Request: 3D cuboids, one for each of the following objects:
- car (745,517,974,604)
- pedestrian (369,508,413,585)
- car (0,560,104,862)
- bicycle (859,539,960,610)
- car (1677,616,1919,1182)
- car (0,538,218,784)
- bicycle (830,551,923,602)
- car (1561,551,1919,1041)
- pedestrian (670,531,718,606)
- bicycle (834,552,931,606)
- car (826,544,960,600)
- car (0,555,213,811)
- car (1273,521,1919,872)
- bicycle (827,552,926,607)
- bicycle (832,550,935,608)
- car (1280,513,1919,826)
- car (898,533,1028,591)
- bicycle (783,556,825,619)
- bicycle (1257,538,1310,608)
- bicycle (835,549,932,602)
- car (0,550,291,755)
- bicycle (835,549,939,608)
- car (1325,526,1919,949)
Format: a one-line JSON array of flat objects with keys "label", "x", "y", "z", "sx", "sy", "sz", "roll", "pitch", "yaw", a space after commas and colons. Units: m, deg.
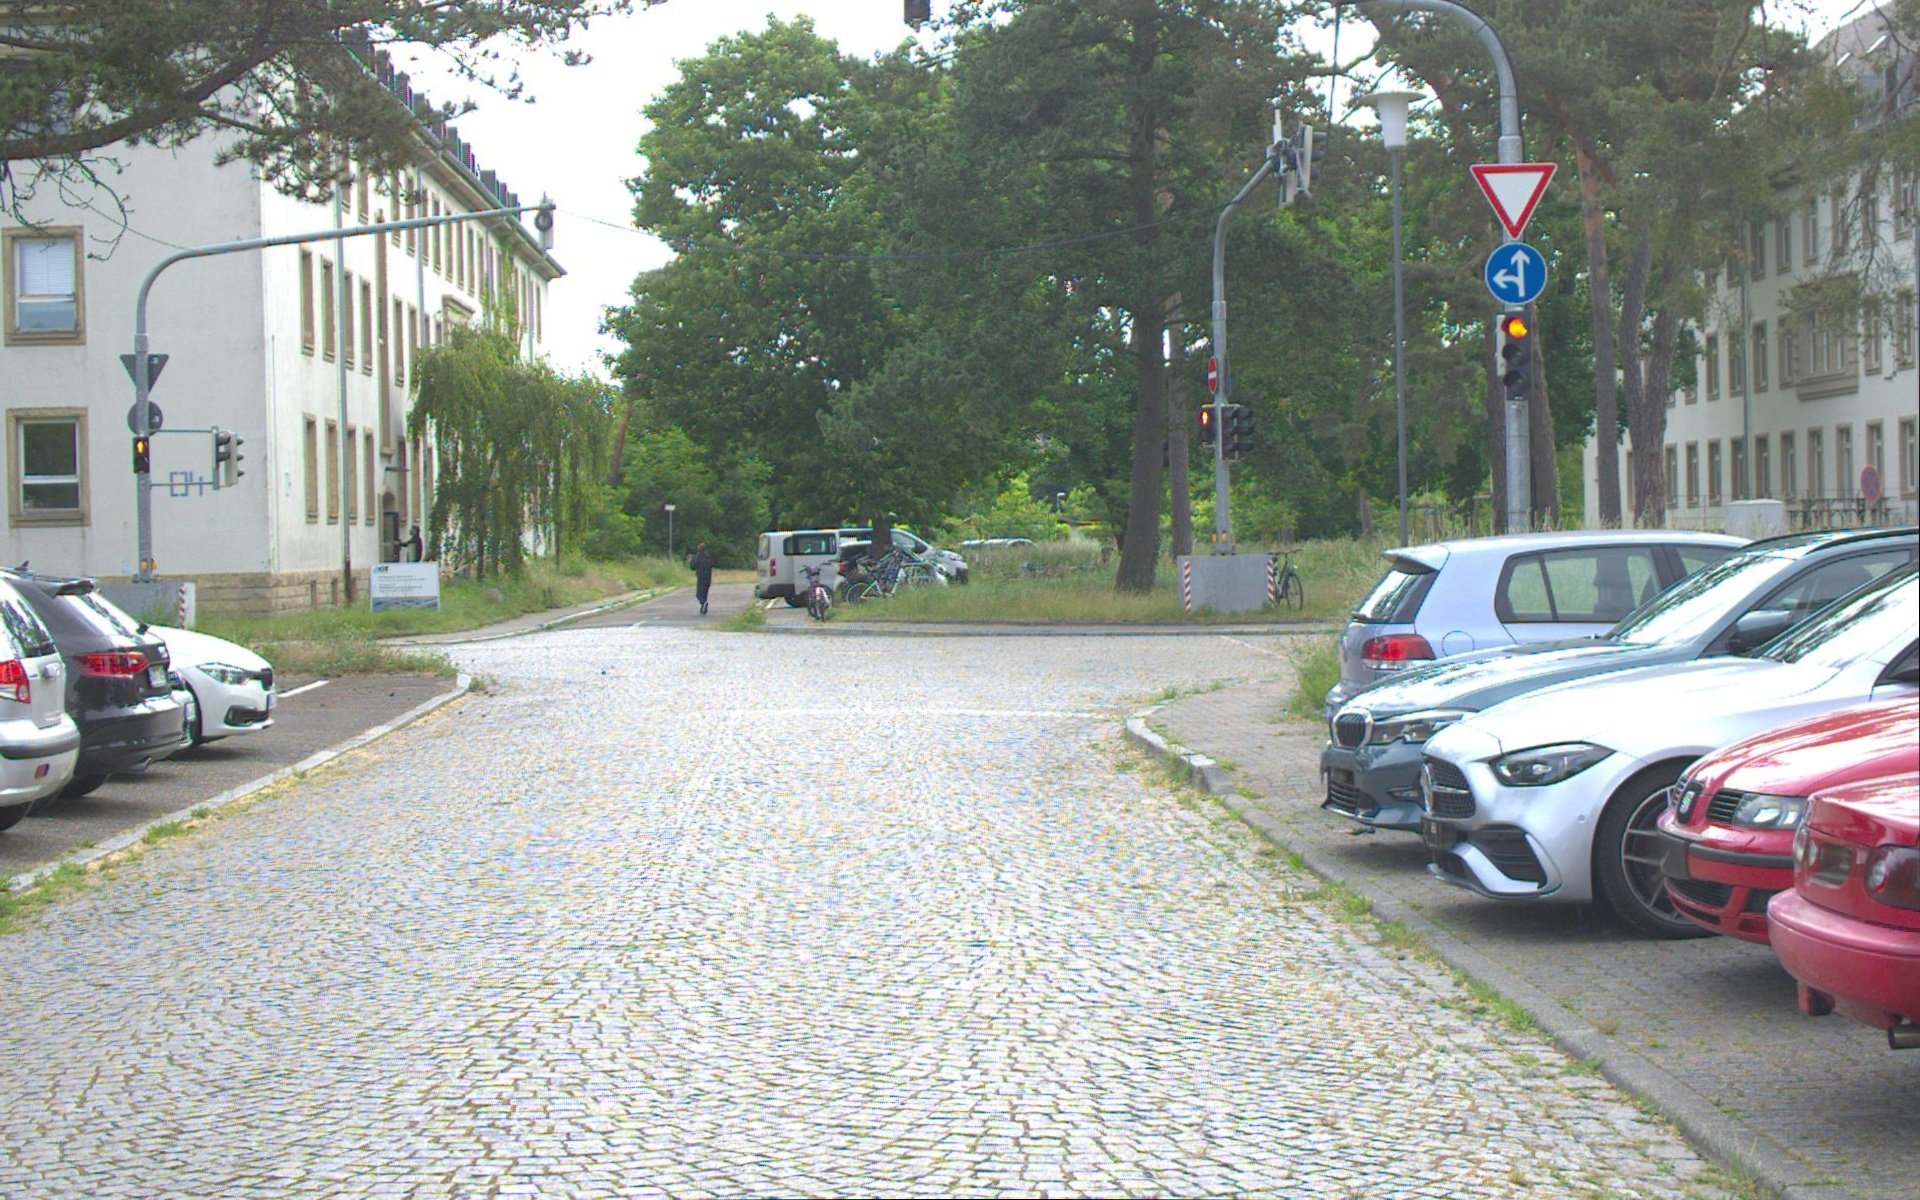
[{"label": "car", "x": -2.511, "y": -1.001, "z": 85.558, "sx": 5.359, "sy": 1.918, "sz": 2.025, "roll": -3, "pitch": 1, "yaw": -11}, {"label": "pedestrian", "x": -13.726, "y": -1.289, "z": 82.868, "sx": 0.774, "sy": 1.831, "sz": 0.741, "roll": -2, "pitch": 1, "yaw": -33}, {"label": "car", "x": -6.430, "y": 0.500, "z": 17.680, "sx": 3.702, "sy": 1.474, "sz": 1.583, "roll": 2, "pitch": 1, "yaw": -5}, {"label": "bicycle", "x": -1.015, "y": -0.517, "z": 68.978, "sx": 1.954, "sy": 1.379, "sz": 0.588, "roll": -1, "pitch": 1, "yaw": -9}, {"label": "car", "x": 4.018, "y": 0.618, "z": 8.905, "sx": 3.862, "sy": 1.232, "sz": 1.758, "roll": -3, "pitch": 1, "yaw": -3}, {"label": "car", "x": -7.100, "y": 0.352, "z": 23.044, "sx": 3.947, "sy": 1.558, "sz": 1.650, "roll": 2, "pitch": 1, "yaw": -5}, {"label": "bicycle", "x": -1.809, "y": -0.513, "z": 74.647, "sx": 1.955, "sy": 1.066, "sz": 0.588, "roll": -1, "pitch": 1, "yaw": -26}, {"label": "car", "x": 4.337, "y": 0.507, "z": 11.399, "sx": 4.261, "sy": 1.411, "sz": 1.871, "roll": -3, "pitch": 1, "yaw": -2}, {"label": "pedestrian", "x": -5.810, "y": -0.691, "z": 75.007, "sx": 0.738, "sy": 1.613, "sz": 0.776, "roll": -2, "pitch": 1, "yaw": -31}, {"label": "bicycle", "x": -1.586, "y": -0.437, "z": 70.966, "sx": 1.955, "sy": 1.066, "sz": 0.588, "roll": -2, "pitch": 1, "yaw": -31}, {"label": "car", "x": -1.609, "y": -0.679, "z": 82.146, "sx": 3.005, "sy": 1.264, "sz": 1.535, "roll": -1, "pitch": 1, "yaw": -8}, {"label": "car", "x": -6.431, "y": 0.432, "z": 20.279, "sx": 3.745, "sy": 1.424, "sz": 1.583, "roll": 2, "pitch": 1, "yaw": -5}, {"label": "car", "x": 3.991, "y": 0.369, "z": 16.345, "sx": 4.680, "sy": 1.411, "sz": 1.871, "roll": -3, "pitch": 1, "yaw": -4}, {"label": "bicycle", "x": -1.686, "y": -0.414, "z": 69.612, "sx": 1.955, "sy": 1.066, "sz": 0.588, "roll": -2, "pitch": 1, "yaw": -31}, {"label": "bicycle", "x": -1.523, "y": -0.414, "z": 68.133, "sx": 1.954, "sy": 1.113, "sz": 0.588, "roll": -1, "pitch": 1, "yaw": -9}, {"label": "car", "x": 3.822, "y": 0.336, "z": 18.793, "sx": 3.927, "sy": 1.472, "sz": 1.642, "roll": -3, "pitch": 1, "yaw": 0}, {"label": "car", "x": 0.074, "y": -0.999, "z": 89.519, "sx": 3.231, "sy": 1.411, "sz": 1.725, "roll": -1, "pitch": 1, "yaw": -5}, {"label": "bicycle", "x": -2.918, "y": -0.246, "z": 64.261, "sx": 0.603, "sy": 1.128, "sz": 1.962, "roll": -1, "pitch": 1, "yaw": -8}, {"label": "bicycle", "x": 5.223, "y": -0.450, "z": 55.582, "sx": 0.586, "sy": 1.102, "sz": 1.962, "roll": -1, "pitch": 1, "yaw": -2}, {"label": "bicycle", "x": -1.614, "y": -0.521, "z": 72.319, "sx": 1.955, "sy": 1.066, "sz": 0.588, "roll": -1, "pitch": 1, "yaw": -26}, {"label": "car", "x": -7.108, "y": 0.342, "z": 25.582, "sx": 3.947, "sy": 1.416, "sz": 1.650, "roll": 2, "pitch": 1, "yaw": -3}, {"label": "bicycle", "x": -1.435, "y": -0.427, "z": 67.502, "sx": 1.954, "sy": 1.128, "sz": 0.588, "roll": -1, "pitch": 1, "yaw": -9}, {"label": "car", "x": 3.878, "y": 0.422, "z": 13.653, "sx": 4.421, "sy": 1.411, "sz": 1.871, "roll": -3, "pitch": 1, "yaw": -11}]
